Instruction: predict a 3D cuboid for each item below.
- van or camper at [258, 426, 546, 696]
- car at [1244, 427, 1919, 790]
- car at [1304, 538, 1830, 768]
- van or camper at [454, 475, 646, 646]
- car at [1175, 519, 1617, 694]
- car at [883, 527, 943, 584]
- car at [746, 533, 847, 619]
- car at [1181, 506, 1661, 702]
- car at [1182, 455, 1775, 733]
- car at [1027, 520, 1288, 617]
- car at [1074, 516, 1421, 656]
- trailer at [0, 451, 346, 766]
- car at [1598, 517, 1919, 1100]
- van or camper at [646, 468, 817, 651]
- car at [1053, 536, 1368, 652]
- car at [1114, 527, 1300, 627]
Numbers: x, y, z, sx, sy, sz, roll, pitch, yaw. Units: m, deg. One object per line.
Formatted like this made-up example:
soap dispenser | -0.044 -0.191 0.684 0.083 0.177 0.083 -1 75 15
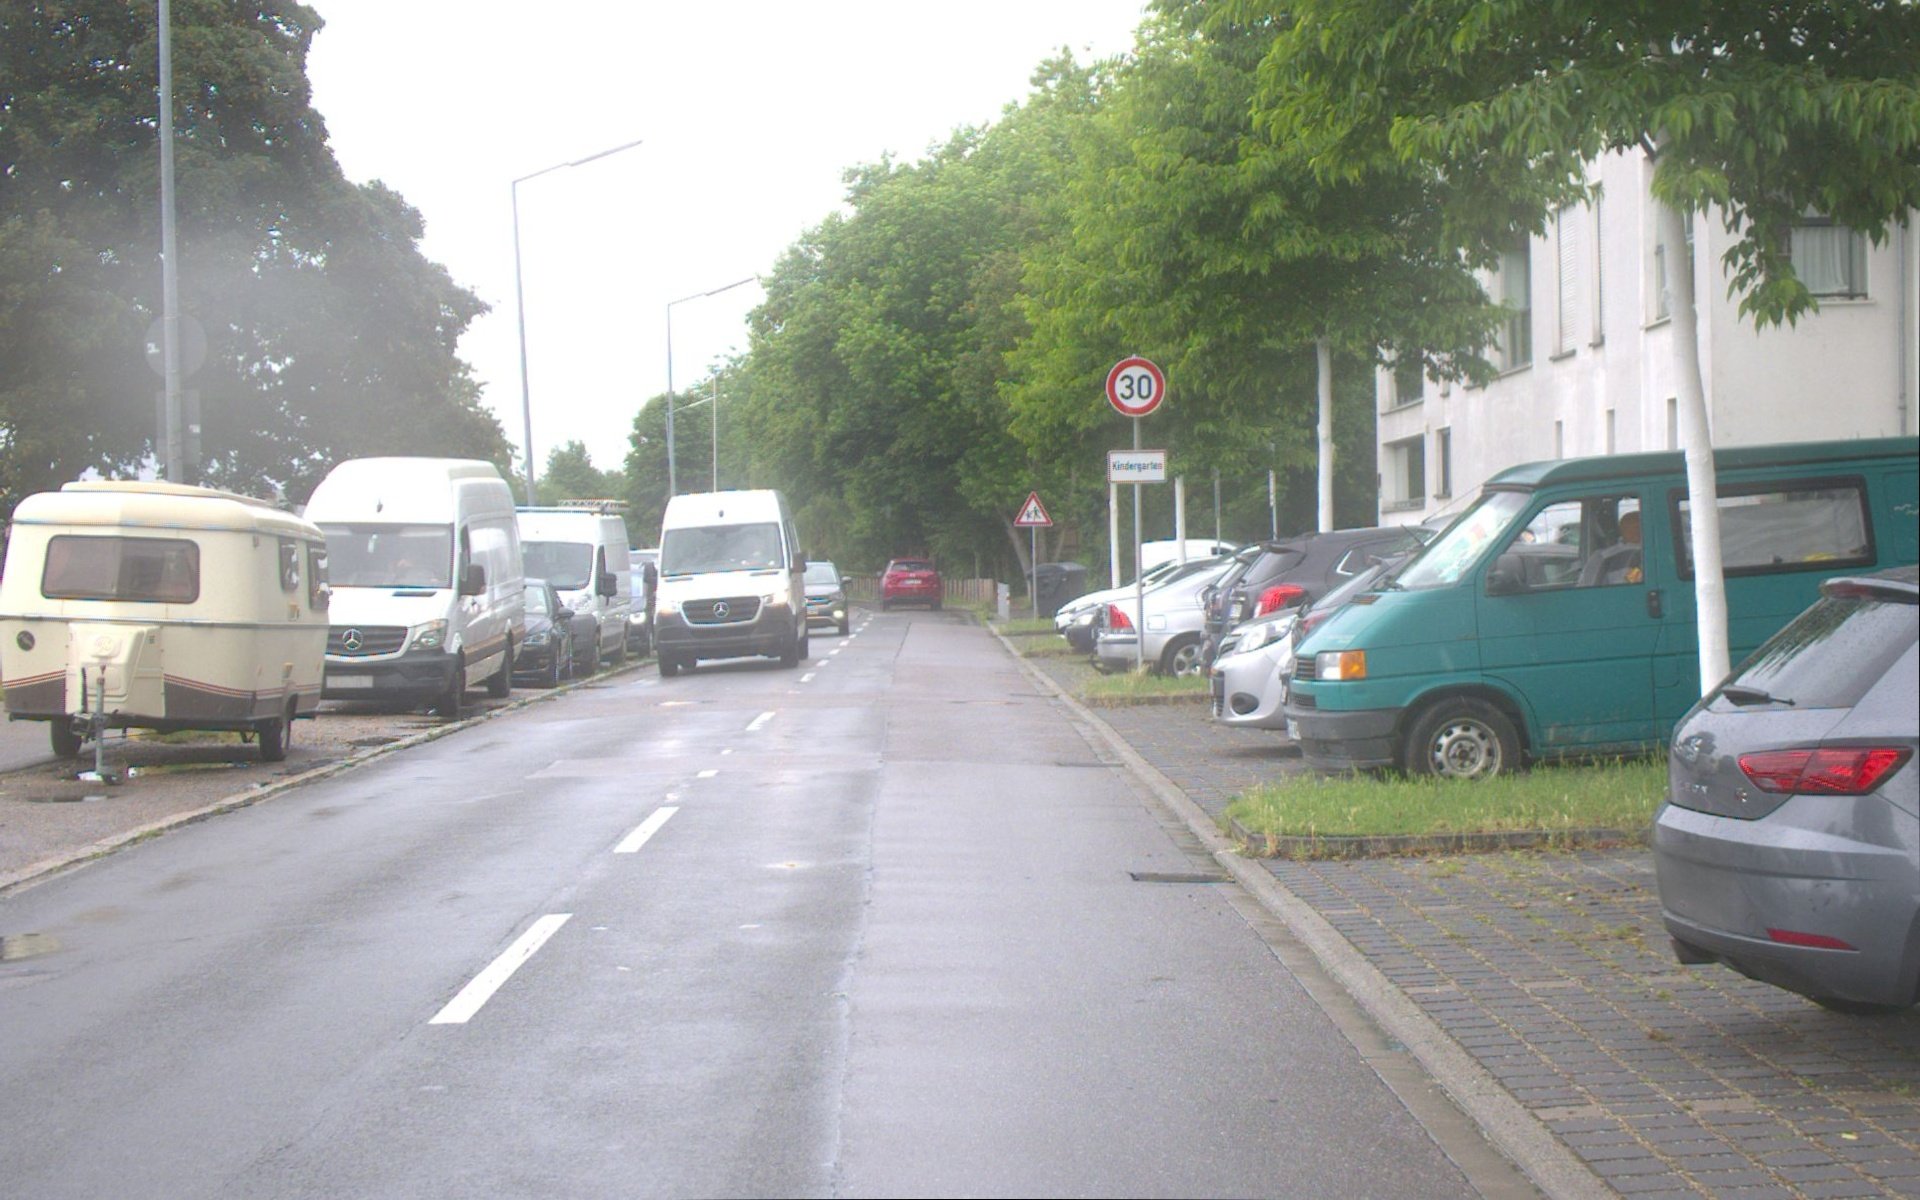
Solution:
van or camper | -6.254 -0.423 39.544 1.993 2.753 7.898 1 0 0
car | 4.116 0.032 20.284 4.617 2.012 1.858 0 0 -4
car | 4.003 0.333 22.935 3.254 1.477 1.317 0 1 -2
van or camper | -6.274 -0.590 53.352 2.189 2.453 6.377 1 0 0
car | 4.133 0.050 32.982 3.882 1.595 1.864 0 0 -6
car | -1.492 -1.374 107.503 1.756 1.700 4.000 -1 0 -2
car | -3.398 -0.502 72.106 1.881 1.751 4.068 0 0 1
car | 4.028 0.024 30.441 3.882 1.676 1.864 0 1 -6
car | 3.754 -0.052 25.410 4.093 1.888 1.726 -1 1 1
car | 3.296 -0.534 57.803 4.091 1.569 1.868 0 0 -7
car | 3.746 -0.188 45.380 4.387 1.770 2.005 0 0 -1
trailer | -6.354 0.028 27.328 2.058 2.210 5.795 1 0 -2
car | 4.034 0.471 9.812 4.029 1.494 1.632 -2 0 -3
van or camper | -3.303 -0.582 51.090 1.993 2.489 7.178 -1 0 0
car | 3.589 -0.093 49.884 4.387 1.628 2.005 0 0 -1
car | 5.799 -0.546 80.570 3.991 2.285 1.775 1 0 20
